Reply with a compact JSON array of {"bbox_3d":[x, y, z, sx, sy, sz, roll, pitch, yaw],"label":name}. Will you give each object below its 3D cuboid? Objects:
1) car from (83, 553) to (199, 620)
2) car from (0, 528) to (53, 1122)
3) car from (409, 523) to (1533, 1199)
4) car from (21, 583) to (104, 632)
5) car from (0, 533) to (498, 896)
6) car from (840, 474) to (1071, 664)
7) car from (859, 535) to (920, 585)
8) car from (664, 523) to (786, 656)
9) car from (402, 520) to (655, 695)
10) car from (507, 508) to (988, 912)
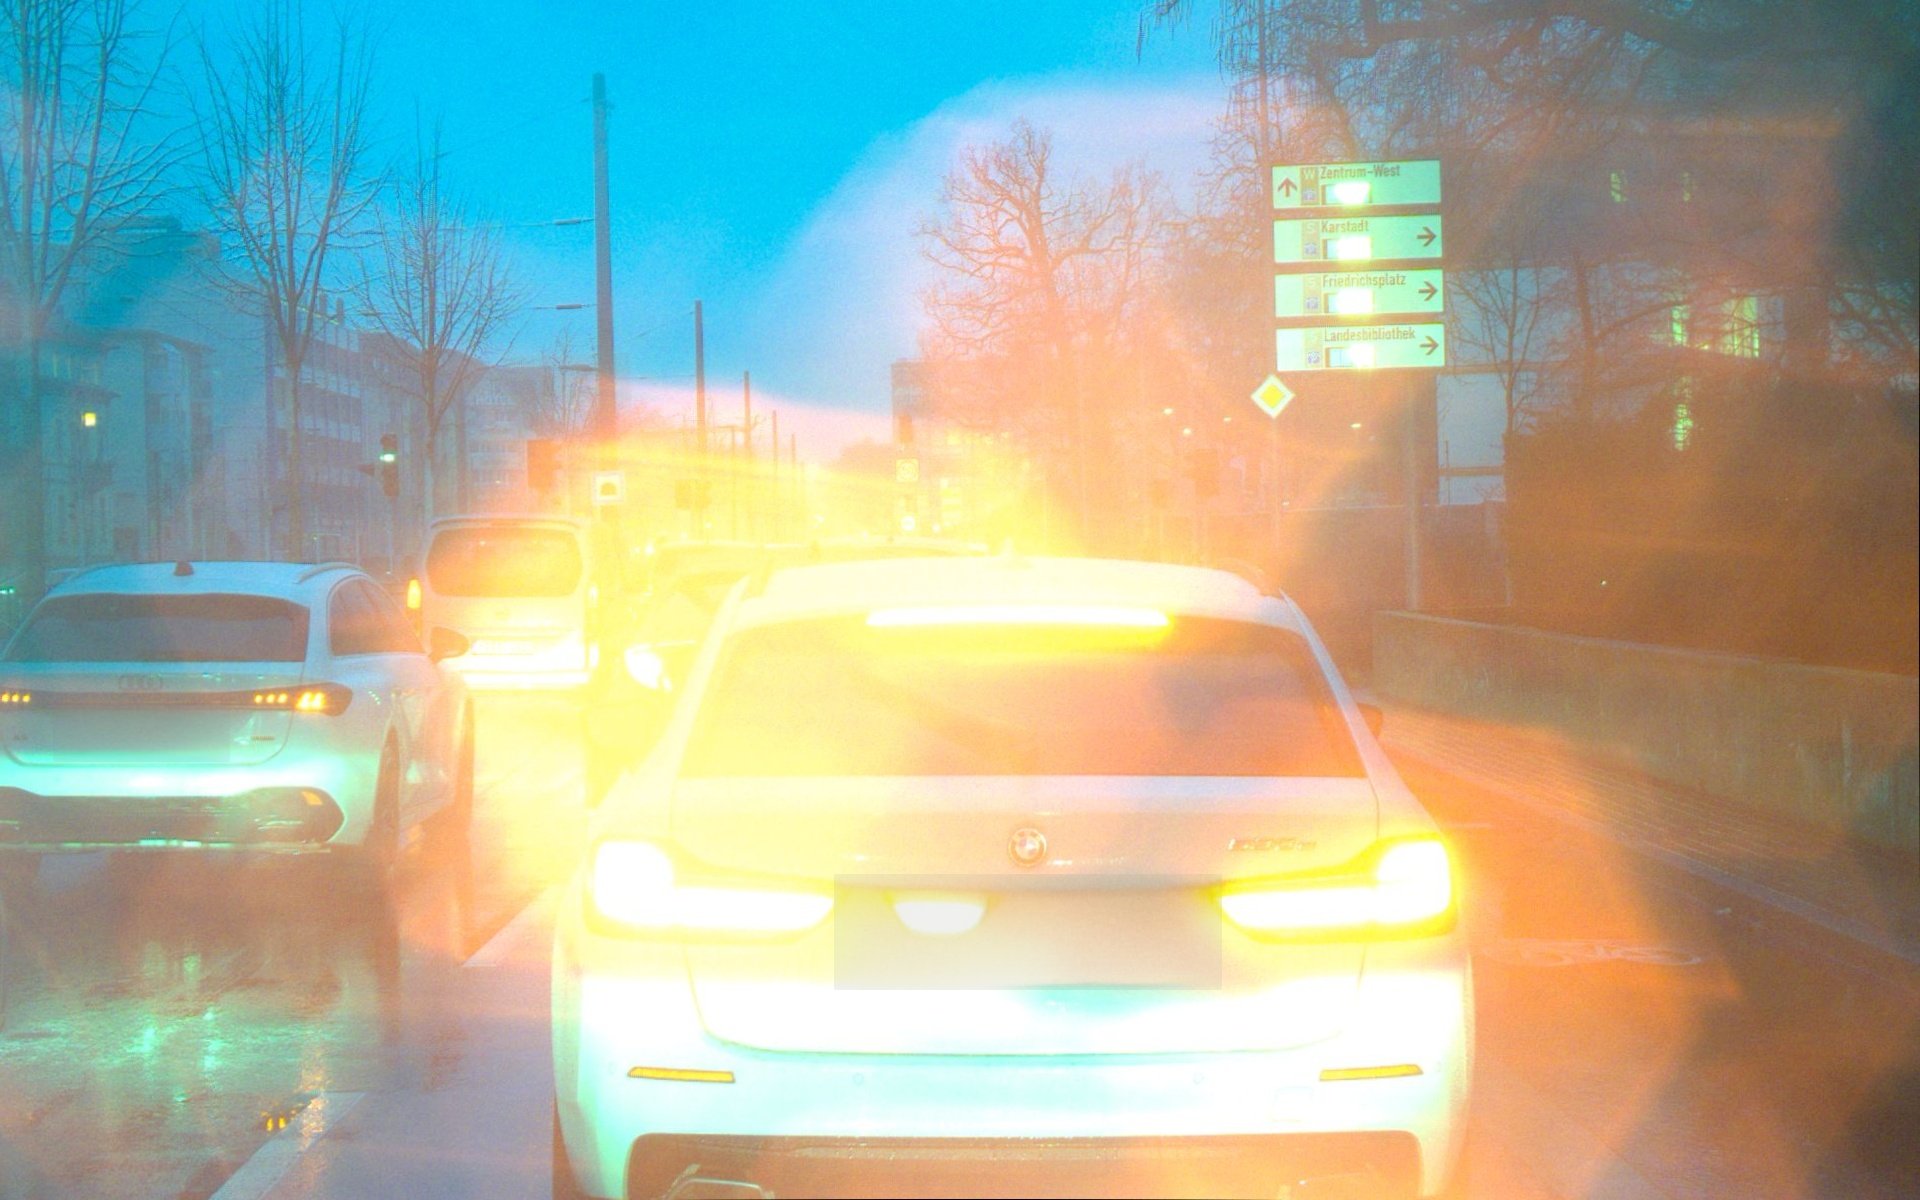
[{"bbox_3d":[-20.110,-0.344,84.571,1.993,1.597,4.000,1,1,-2],"label":"car"},{"bbox_3d":[-3.282,0.606,7.376,1.693,1.528,4.000,0,1,-1],"label":"car"},{"bbox_3d":[-0.003,0.618,8.242,1.862,1.550,4.938,-1,1,-1],"label":"car"},{"bbox_3d":[-25.302,0.198,97.015,1.690,1.273,4.149,-1,1,-7],"label":"car"},{"bbox_3d":[-3.409,0.430,16.433,1.799,1.461,4.586,-1,1,-1],"label":"car"},{"bbox_3d":[-0.054,-0.272,28.166,1.737,1.415,3.703,-1,1,-1],"label":"car"},{"bbox_3d":[-2.066,-1.193,102.013,1.737,1.415,4.146,-1,1,-1],"label":"car"},{"bbox_3d":[-3.049,-0.149,44.592,1.505,1.647,2.845,1,1,-4],"label":"car"},{"bbox_3d":[-3.792,0.020,30.892,1.737,1.415,4.394,-1,1,-1],"label":"car"},{"bbox_3d":[-0.827,0.391,14.983,1.800,1.505,3.895,-1,1,-1],"label":"car"}]
